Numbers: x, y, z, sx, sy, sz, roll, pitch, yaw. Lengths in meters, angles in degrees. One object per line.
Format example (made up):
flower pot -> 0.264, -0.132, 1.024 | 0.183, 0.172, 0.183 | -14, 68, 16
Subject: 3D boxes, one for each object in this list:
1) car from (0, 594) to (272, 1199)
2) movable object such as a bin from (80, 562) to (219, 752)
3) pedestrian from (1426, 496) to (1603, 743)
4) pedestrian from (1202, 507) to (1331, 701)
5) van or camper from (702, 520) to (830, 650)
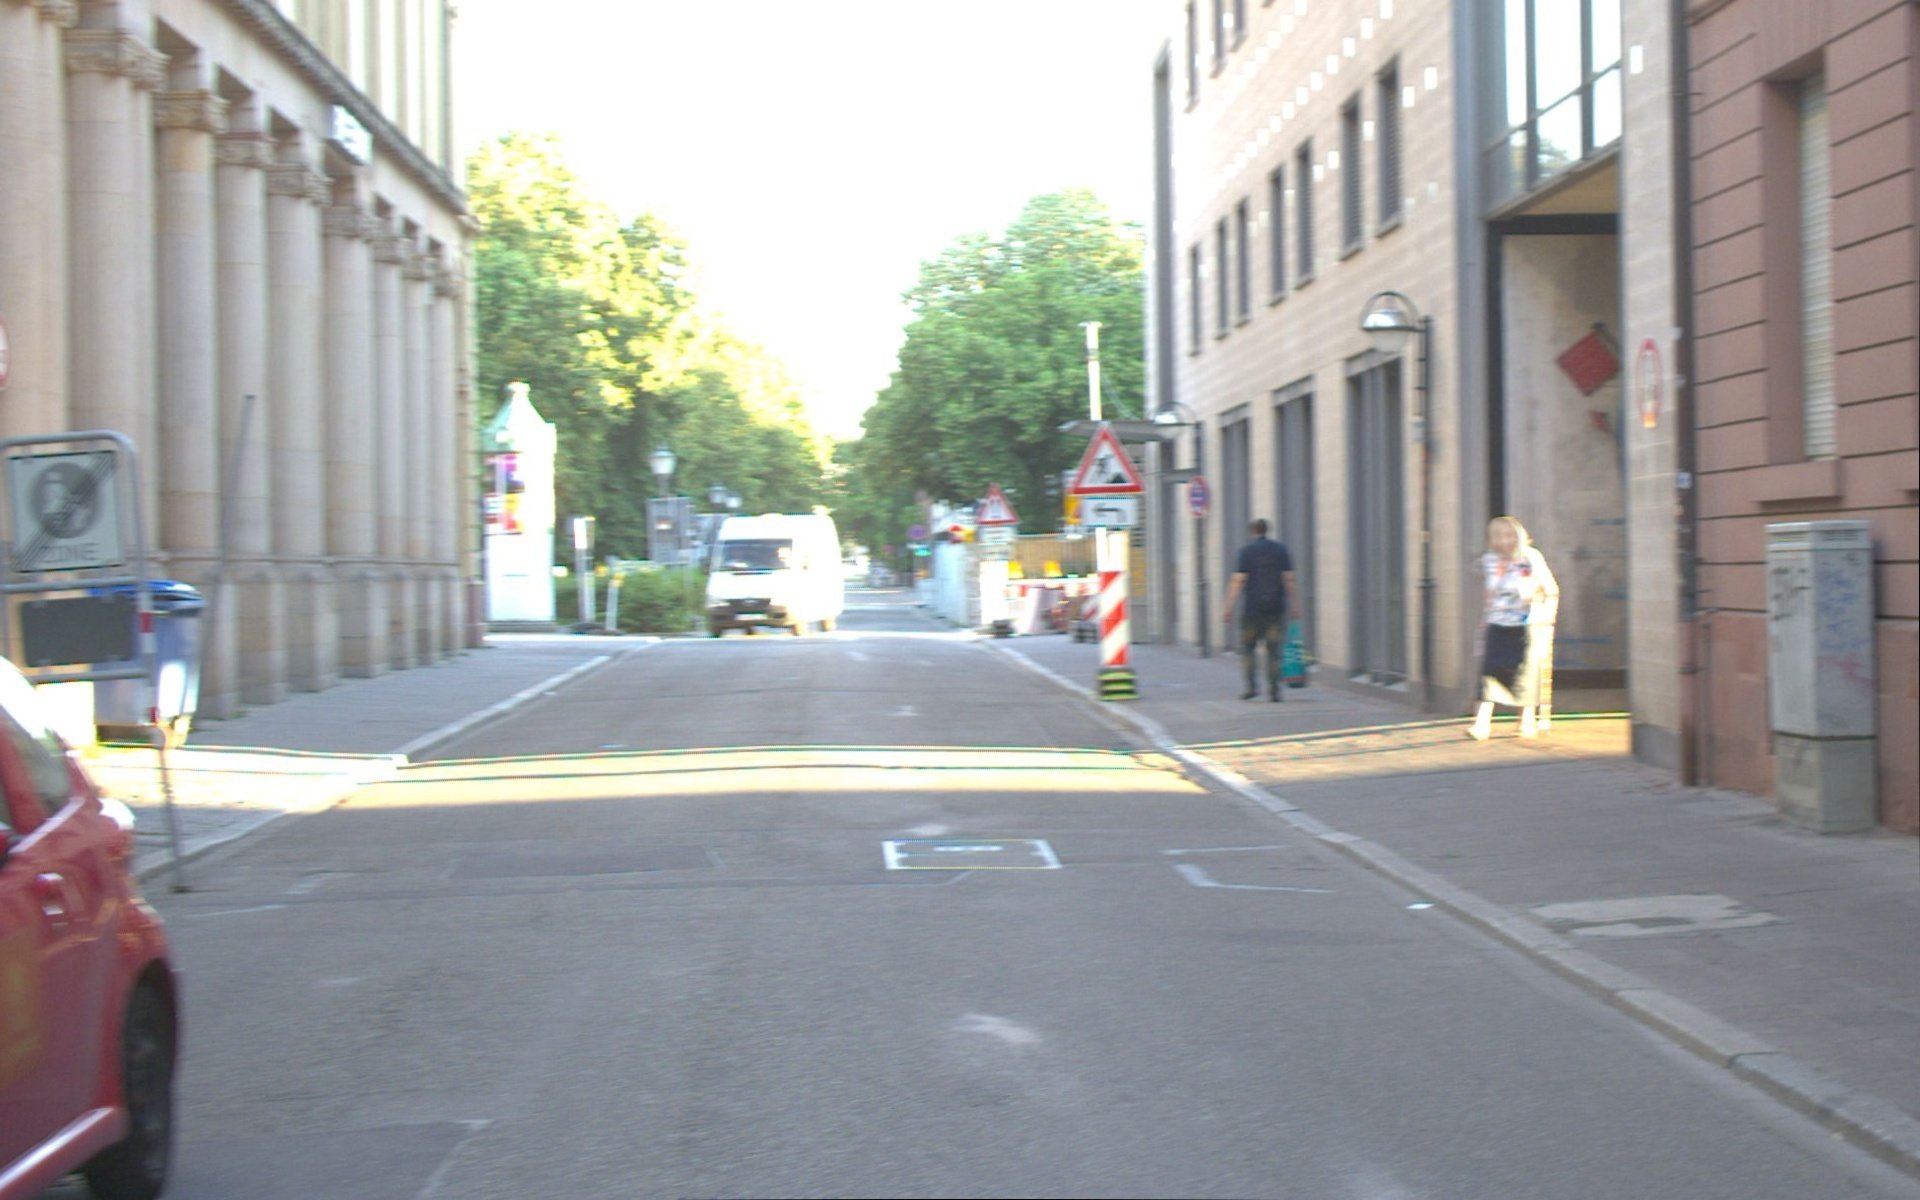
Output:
car -> -2.721, 0.784, 7.358 | 1.657, 1.464, 3.932 | -4, 0, -1
movable object such as a bin -> -6.566, 0.443, 27.909 | 0.829, 1.498, 1.291 | 0, 1, -1
pedestrian -> 4.196, 0.150, 26.005 | 0.895, 1.797, 0.847 | -3, 0, -43
pedestrian -> 3.002, 0.038, 33.743 | 1.000, 1.797, 0.882 | -5, 0, -2
van or camper -> -3.991, -0.346, 71.788 | 2.219, 2.576, 6.372 | -1, 1, 1
